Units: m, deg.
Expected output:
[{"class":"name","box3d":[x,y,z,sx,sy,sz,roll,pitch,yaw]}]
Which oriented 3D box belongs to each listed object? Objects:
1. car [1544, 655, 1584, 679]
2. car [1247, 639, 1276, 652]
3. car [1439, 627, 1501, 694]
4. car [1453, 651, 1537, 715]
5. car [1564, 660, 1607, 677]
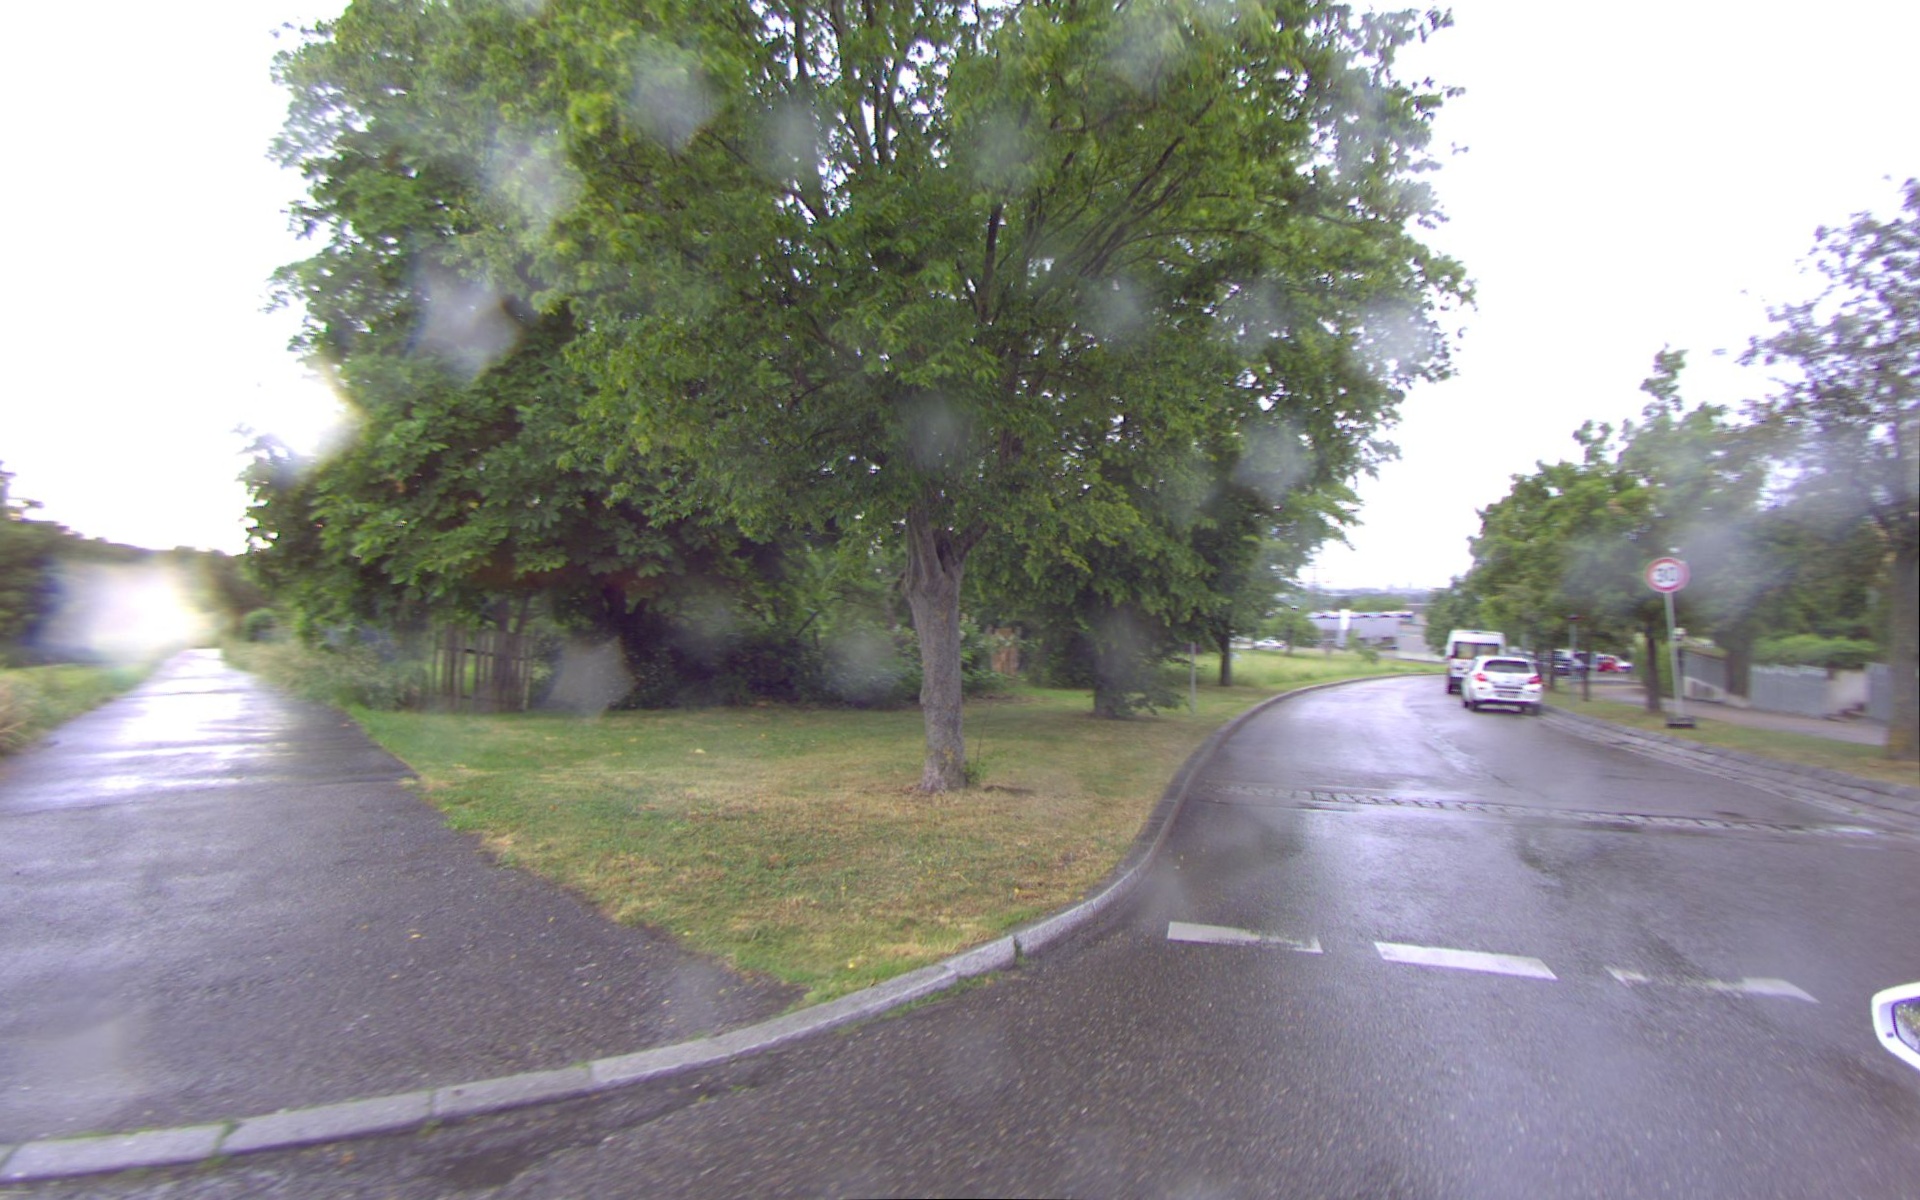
[{"class":"car","box3d":[44.015,4.868,73.210,1.669,1.572,3.674,2,0,44]},{"class":"car","box3d":[50.054,7.523,166.997,4.200,1.724,1.794,4,1,-10]},{"class":"car","box3d":[21.072,2.492,41.678,2.085,2.499,5.506,2,-2,26]},{"class":"car","box3d":[14.623,2.224,27.608,1.580,1.522,3.726,2,-2,22]},{"class":"car","box3d":[65.499,7.144,105.202,1.682,1.626,3.527,4,-4,-44]}]
